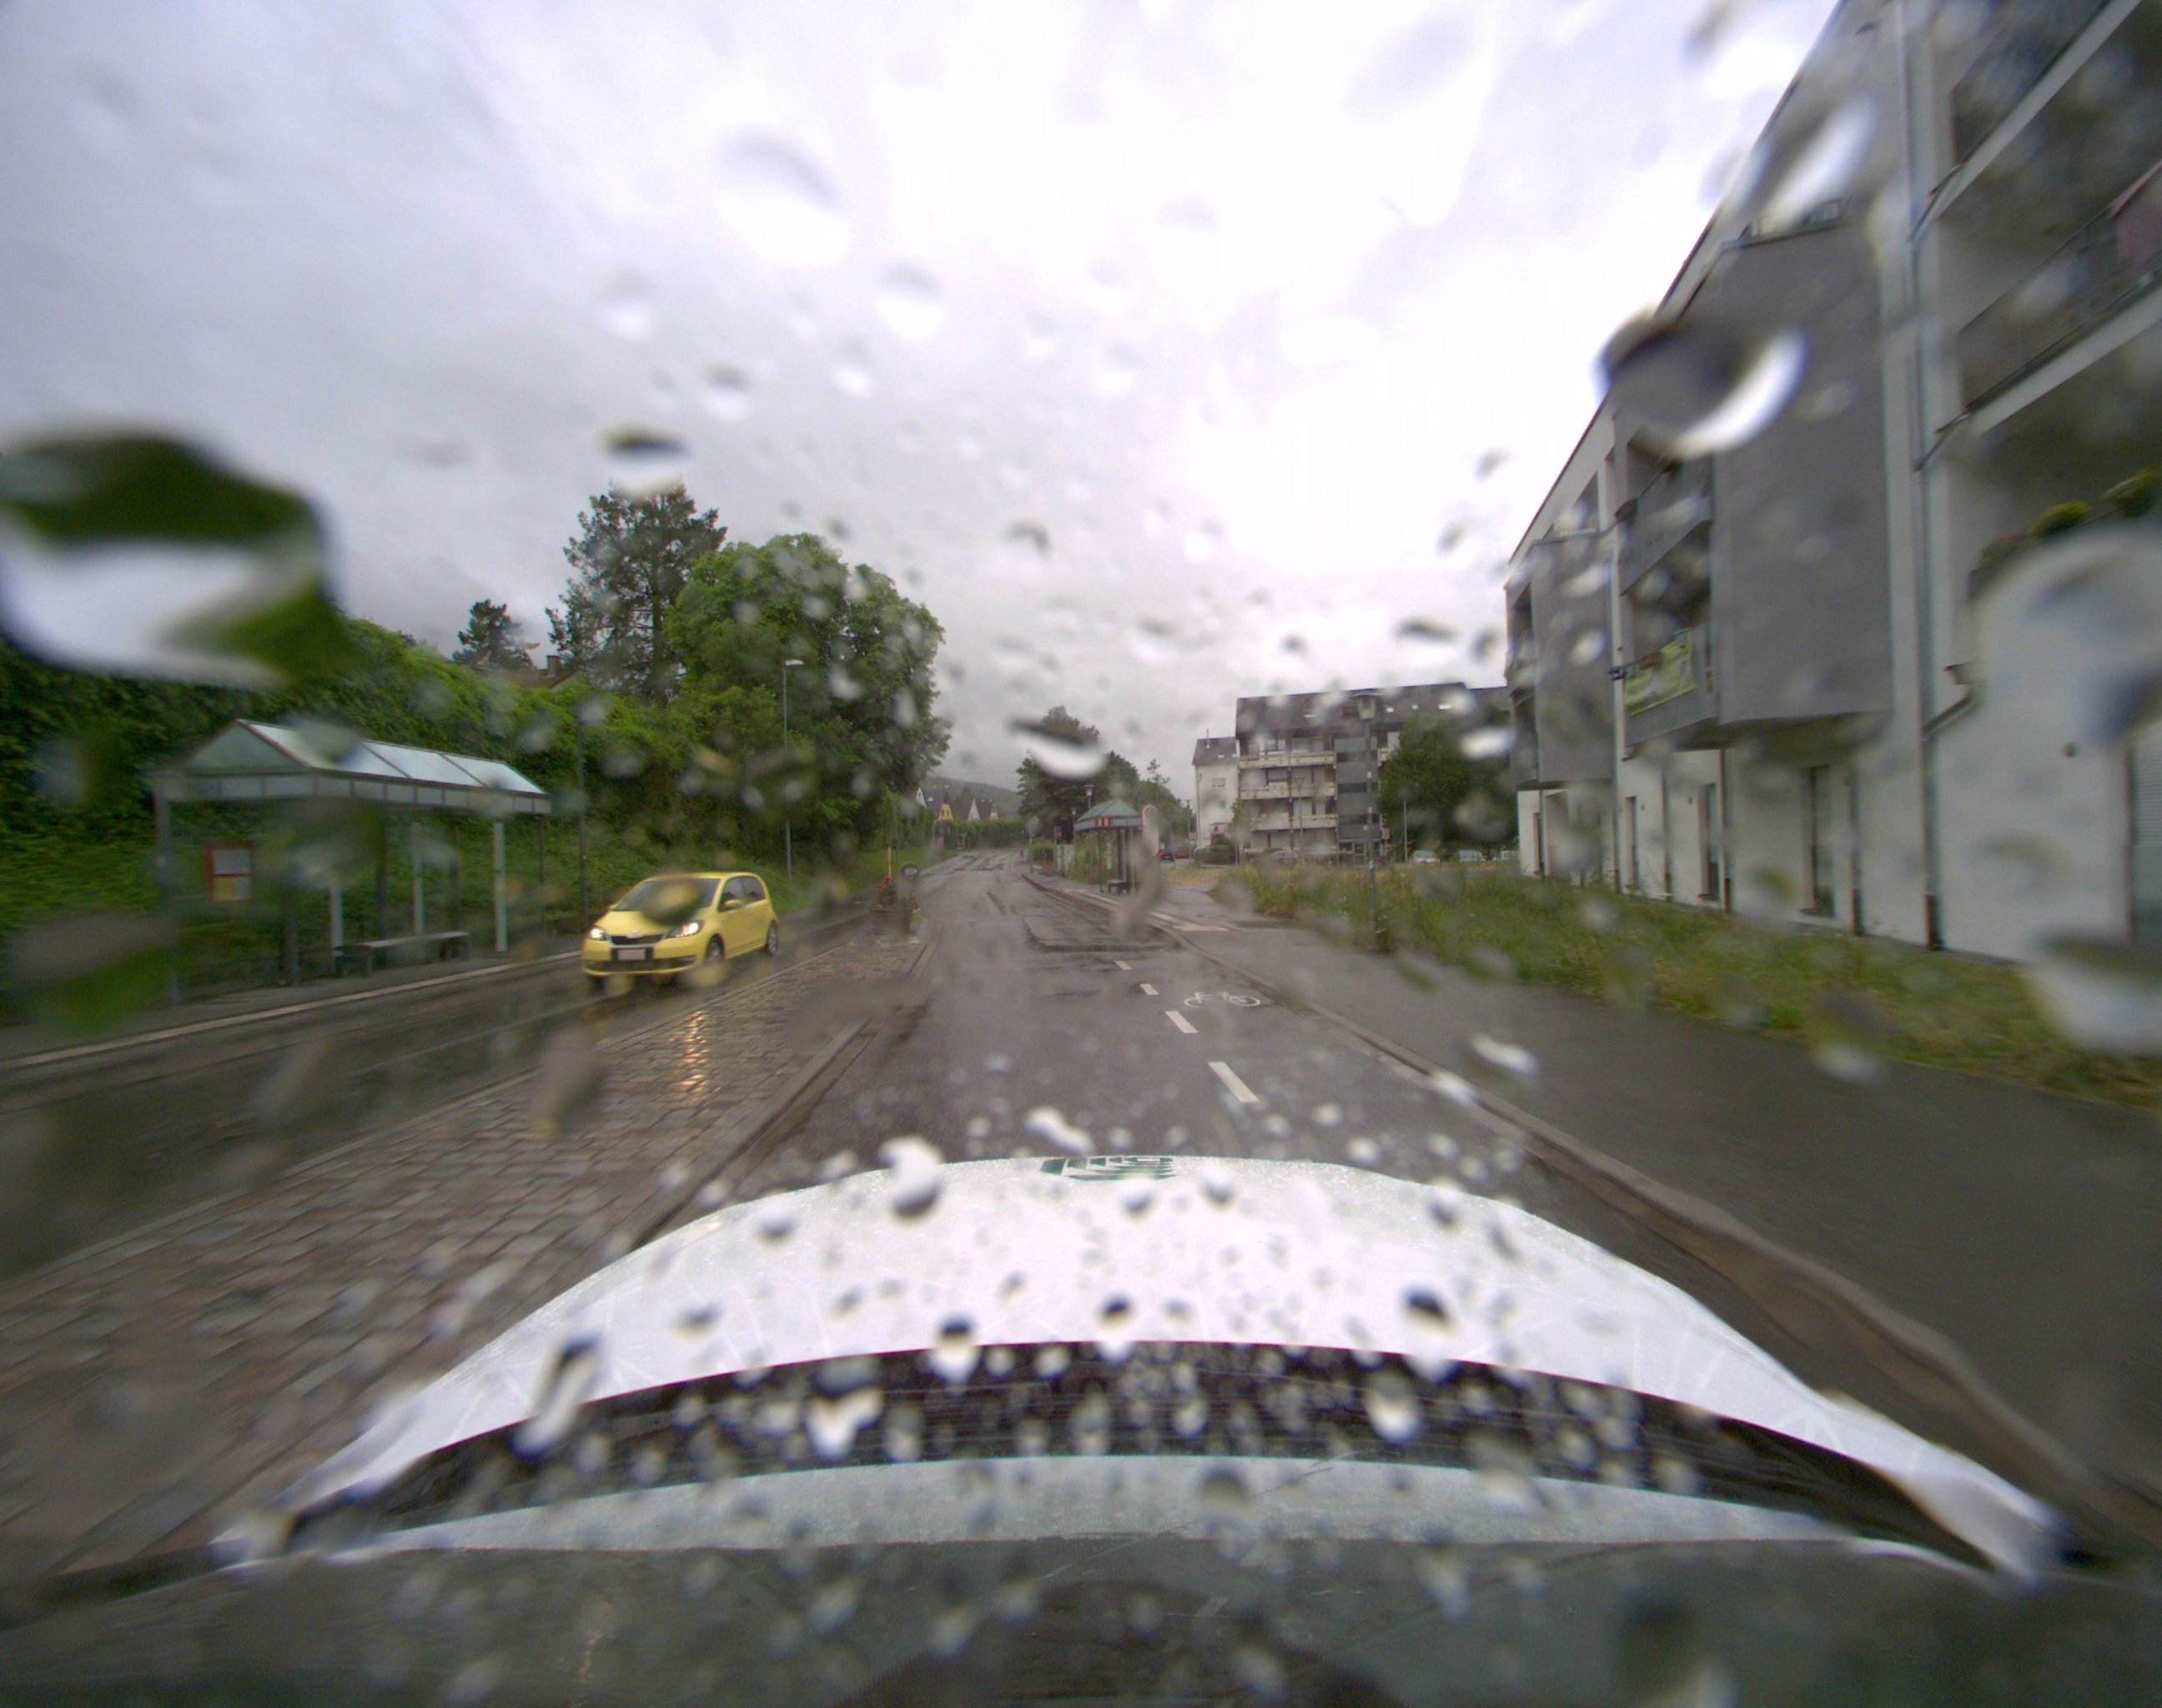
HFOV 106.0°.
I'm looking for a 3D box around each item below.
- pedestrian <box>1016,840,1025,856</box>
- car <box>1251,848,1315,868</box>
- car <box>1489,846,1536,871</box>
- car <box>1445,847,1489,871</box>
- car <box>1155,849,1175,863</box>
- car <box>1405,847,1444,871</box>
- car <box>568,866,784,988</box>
[{"bbox_3d":[-6.596,-0.642,89.066,0.918,1.675,1.056,-3,2,-4],"label":"pedestrian"},{"bbox_3d":[15.075,0.285,60.882,4.569,1.387,1.953,0,1,12],"label":"car"},{"bbox_3d":[26.778,0.316,50.649,1.704,1.441,3.719,-1,-2,13],"label":"car"},{"bbox_3d":[24.178,0.344,51.117,1.704,1.441,3.719,-1,-2,13],"label":"car"},{"bbox_3d":[9.276,0.227,90.180,1.685,1.438,3.607,-1,2,-4],"label":"car"},{"bbox_3d":[21.852,0.367,51.924,1.704,1.441,3.719,-1,-2,13],"label":"car"},{"bbox_3d":[-5.803,0.959,12.146,1.569,1.410,3.470,-3,0,-3],"label":"car"}]
